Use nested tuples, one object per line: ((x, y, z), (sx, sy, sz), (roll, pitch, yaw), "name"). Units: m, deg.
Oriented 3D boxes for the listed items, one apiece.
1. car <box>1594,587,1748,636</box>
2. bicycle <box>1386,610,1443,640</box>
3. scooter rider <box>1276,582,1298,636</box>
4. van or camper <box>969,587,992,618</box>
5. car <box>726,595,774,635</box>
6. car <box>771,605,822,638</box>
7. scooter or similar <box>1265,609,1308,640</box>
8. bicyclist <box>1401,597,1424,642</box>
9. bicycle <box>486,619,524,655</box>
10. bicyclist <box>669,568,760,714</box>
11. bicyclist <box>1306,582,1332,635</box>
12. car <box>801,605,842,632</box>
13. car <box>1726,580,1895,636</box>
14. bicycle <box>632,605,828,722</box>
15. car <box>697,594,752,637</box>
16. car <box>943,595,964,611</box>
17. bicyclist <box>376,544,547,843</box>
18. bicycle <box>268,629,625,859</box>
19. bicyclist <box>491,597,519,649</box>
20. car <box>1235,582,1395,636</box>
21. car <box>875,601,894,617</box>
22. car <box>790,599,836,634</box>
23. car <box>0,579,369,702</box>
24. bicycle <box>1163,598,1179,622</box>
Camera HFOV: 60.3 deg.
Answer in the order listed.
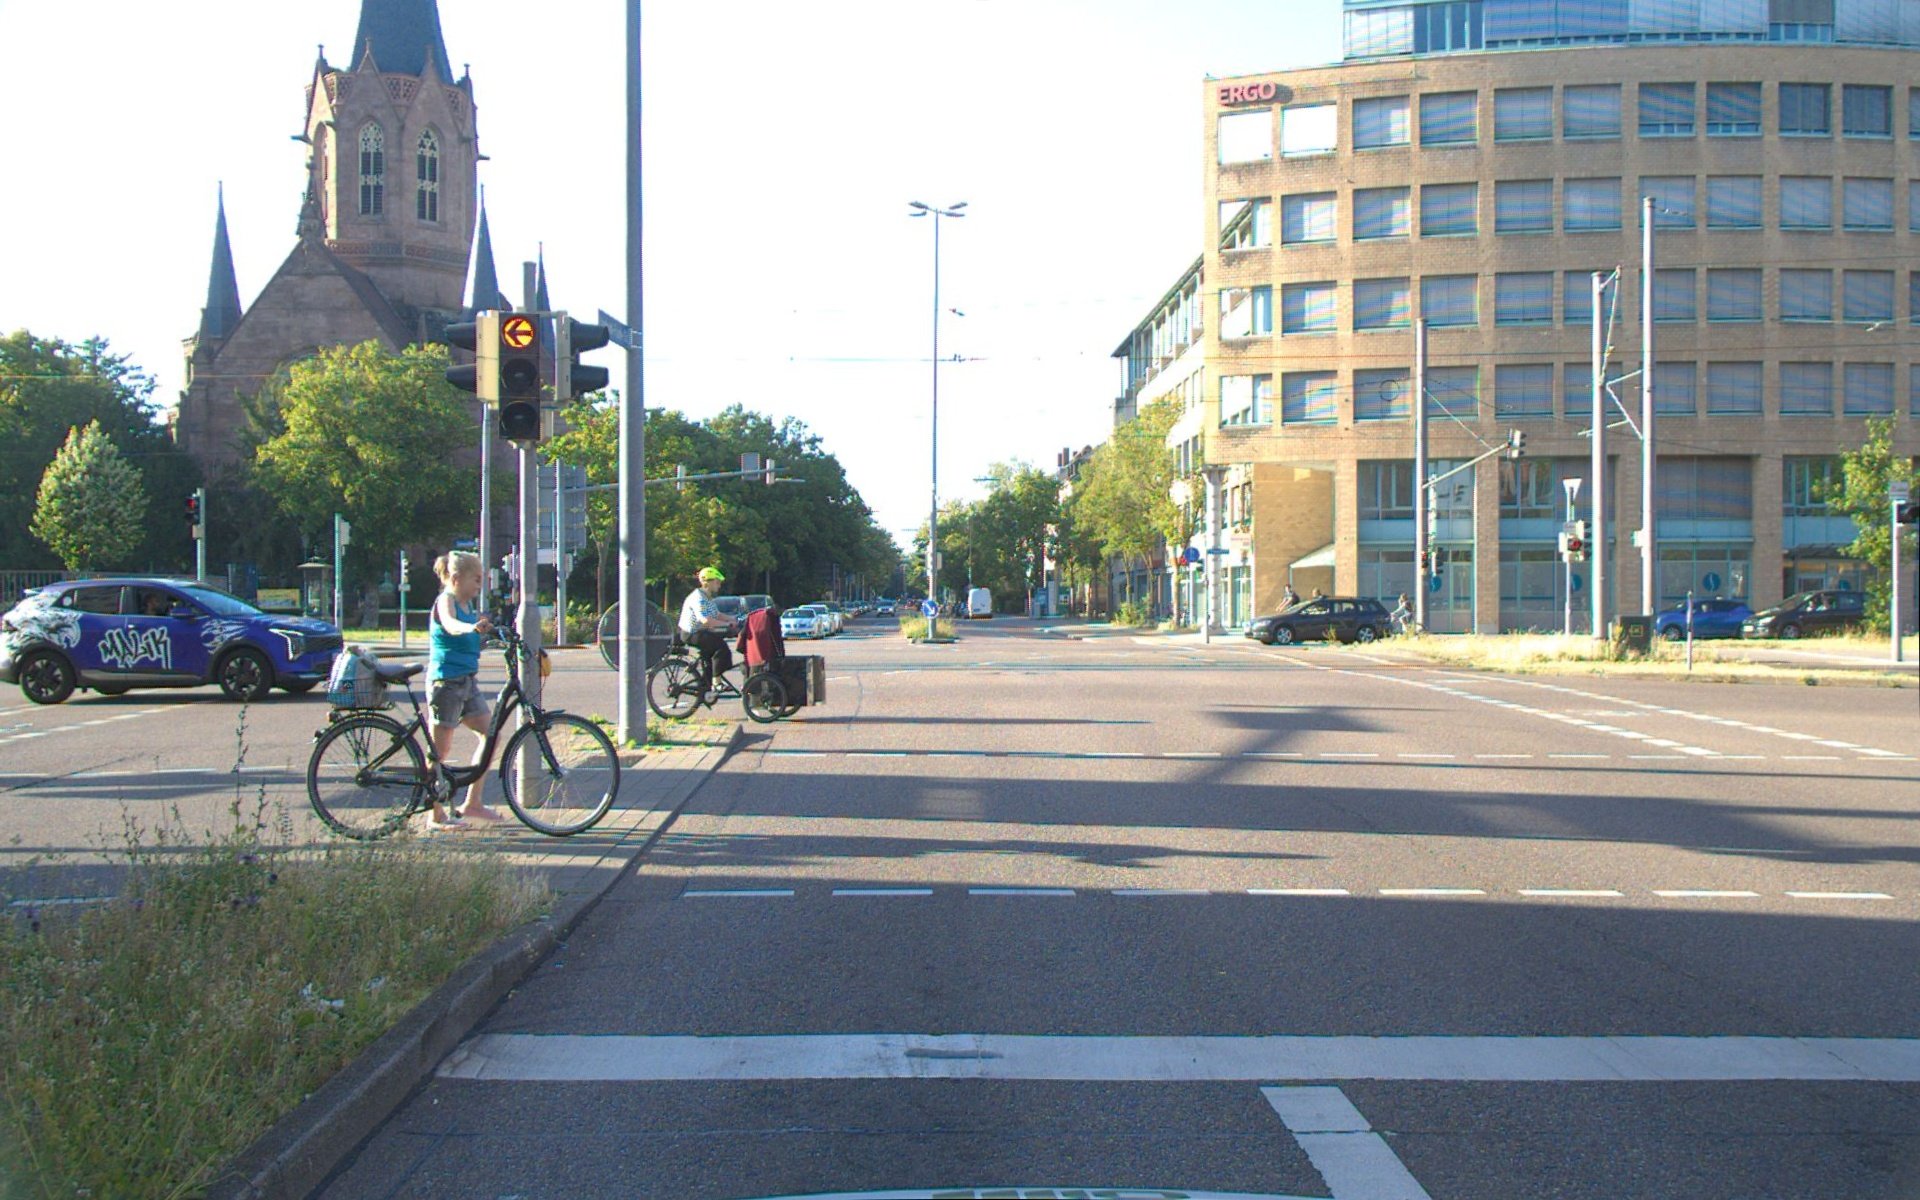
((22.995, 0.355, 53.563), (4.146, 1.528, 1.998), (0, 0, -5), "car")
((15.383, 0.855, 55.963), (1.783, 1.001, 0.534), (0, 0, 2), "bicycle")
((11.129, 0.300, 56.239), (0.666, 1.846, 0.475), (0, 0, 5), "scooter rider")
((1.813, 0.160, 147.003), (1.953, 2.686, 5.350), (0, 0, 0), "van or camper")
((-9.481, 0.668, 74.843), (1.744, 1.734, 3.999), (0, 0, -1), "car")
((-6.580, 0.853, 66.995), (1.744, 1.257, 3.999), (0, 0, -1), "car")
((11.104, 0.828, 56.249), (1.371, 1.019, 0.475), (0, 0, 5), "scooter or similar")
((15.316, 0.657, 55.977), (0.652, 1.494, 0.534), (0, 0, 2), "bicyclist")
((-15.004, 1.214, 54.519), (0.641, 1.159, 1.657), (-1, 0, -38), "bicycle")
((-2.630, 0.421, 17.845), (0.862, 1.513, 1.161), (0, 0, -4), "bicyclist")
((12.066, 0.295, 55.623), (0.774, 1.766, 0.475), (0, 0, 5), "bicyclist")
((-6.767, 0.891, 80.992), (1.744, 1.257, 3.999), (0, 0, -1), "car")
((25.875, 0.221, 50.400), (4.142, 1.642, 2.000), (0, 0, 0), "car")
((-2.450, 0.666, 17.875), (2.002, 1.188, 1.161), (0, 0, -4), "bicycle")
((-9.566, 0.613, 67.439), (1.744, 1.676, 3.999), (0, 0, -1), "car")
((-0.742, 0.322, 177.827), (1.955, 1.620, 3.996), (0, 0, -5), "car")
((-2.953, 0.528, 9.875), (0.767, 1.689, 0.900), (0, 0, -3), "bicyclist")
((-2.862, 0.784, 9.358), (1.791, 1.209, 0.733), (0, 0, -3), "bicycle")
((-15.006, 0.750, 54.504), (0.634, 1.724, 0.771), (0, 0, -38), "bicyclist")
((11.173, 0.268, 52.202), (4.556, 1.626, 1.998), (0, 0, -5), "car")
((-7.389, 0.838, 161.764), (1.744, 1.474, 3.999), (0, 0, -1), "car")
((-6.503, 0.698, 73.574), (1.744, 1.490, 3.999), (0, 0, -1), "car")
((-10.588, 0.525, 22.653), (4.313, 1.601, 1.836), (0, 0, -1), "car")
((10.865, 0.504, 85.258), (0.757, 1.216, 2.467), (0, 0, 6), "bicycle")
